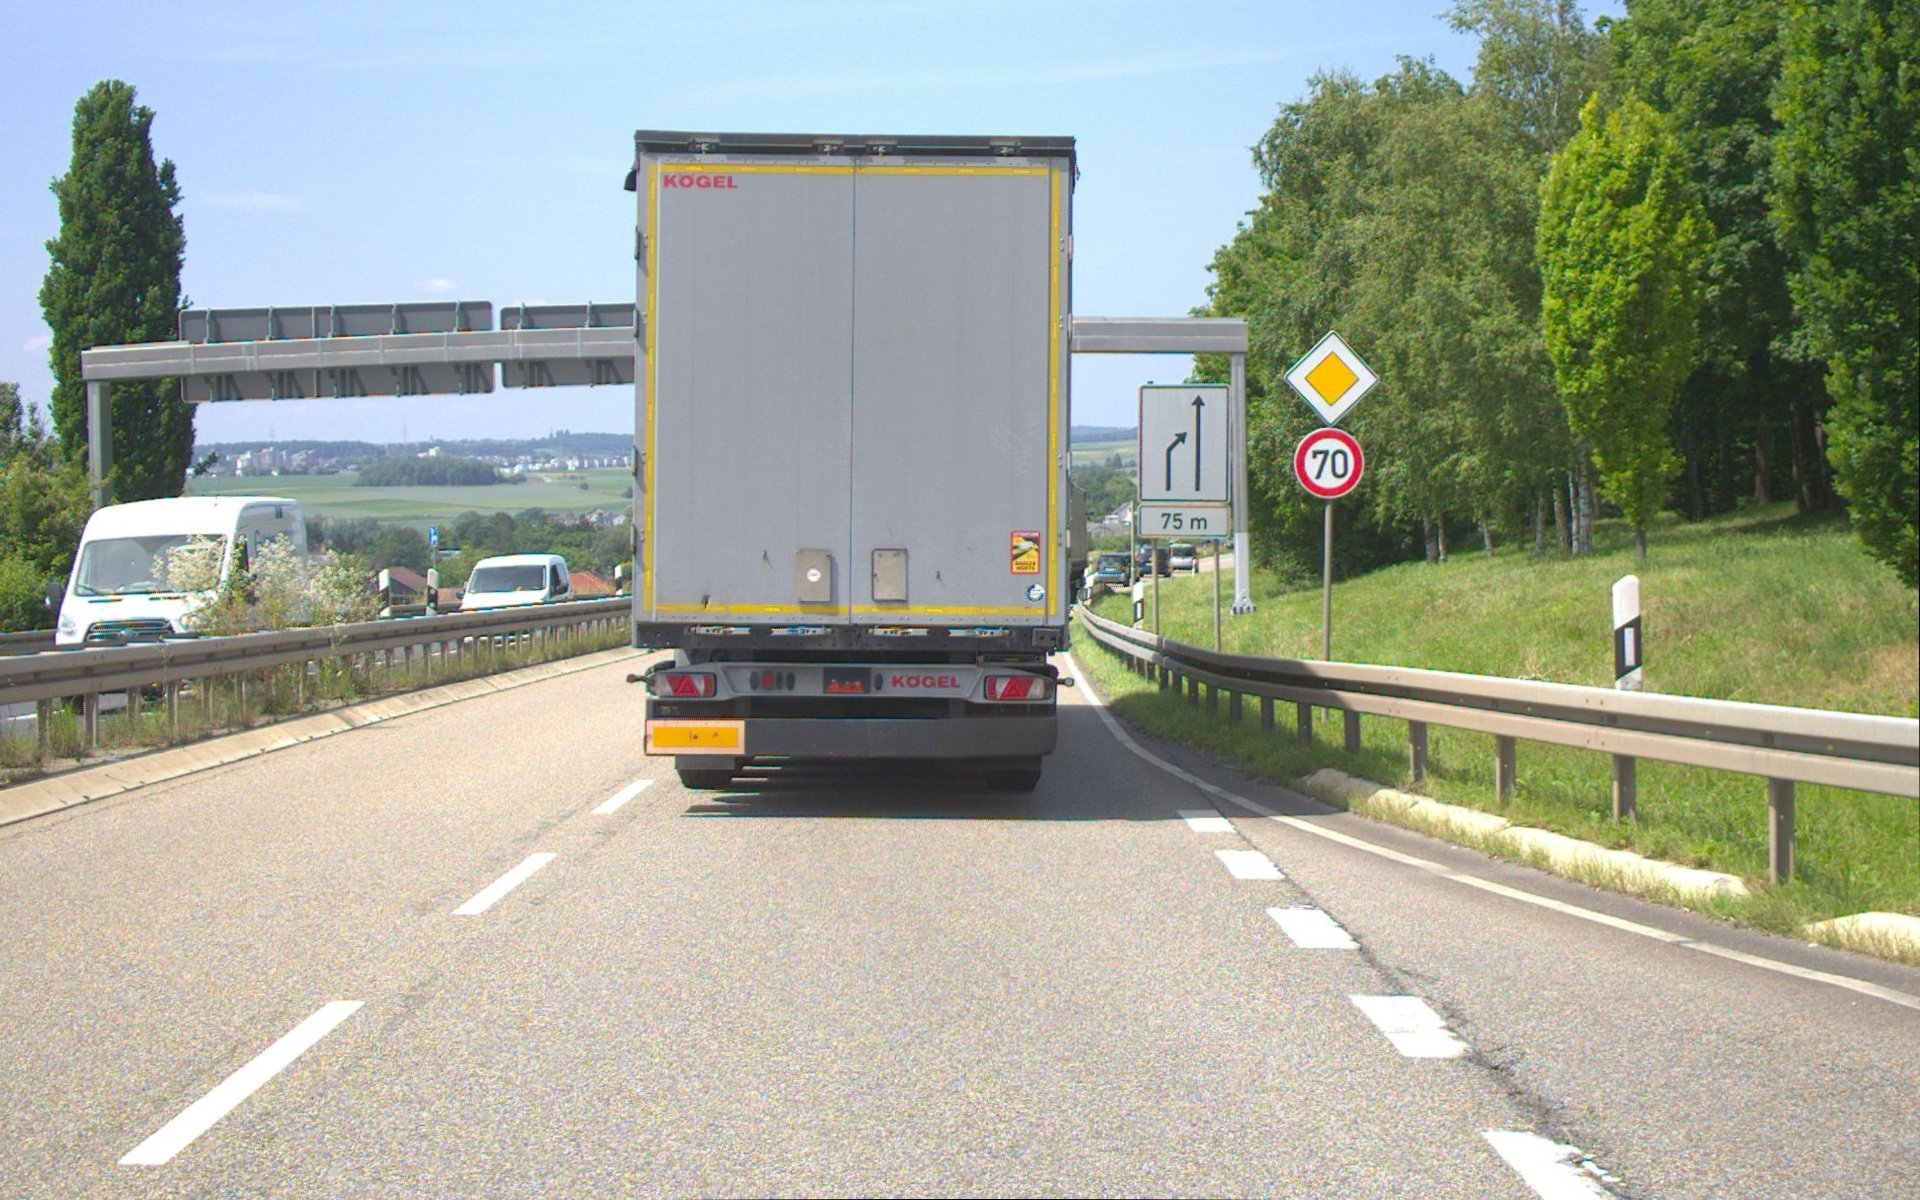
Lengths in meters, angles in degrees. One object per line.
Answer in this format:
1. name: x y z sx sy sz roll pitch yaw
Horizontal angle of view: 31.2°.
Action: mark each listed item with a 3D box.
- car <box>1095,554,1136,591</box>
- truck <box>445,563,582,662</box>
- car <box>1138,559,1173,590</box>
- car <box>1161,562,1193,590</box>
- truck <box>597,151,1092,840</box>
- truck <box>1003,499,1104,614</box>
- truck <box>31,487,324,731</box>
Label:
1. car: 7.220 -1.270 160.195 1.786 1.682 4.000 0 0 1
2. truck: -8.505 0.243 65.865 1.849 1.743 4.537 -3 0 1
3. car: 10.934 -1.428 192.740 1.786 1.682 4.000 0 0 1
4. car: 13.401 -1.466 212.683 1.786 1.682 4.000 0 0 1
5. truck: -0.720 -0.638 25.276 2.799 3.916 11.342 0 0 -1
6. truck: 3.300 -1.429 118.609 2.656 3.752 10.159 0 0 6
7. truck: -9.251 0.079 41.218 2.040 2.612 6.020 -3 0 0
